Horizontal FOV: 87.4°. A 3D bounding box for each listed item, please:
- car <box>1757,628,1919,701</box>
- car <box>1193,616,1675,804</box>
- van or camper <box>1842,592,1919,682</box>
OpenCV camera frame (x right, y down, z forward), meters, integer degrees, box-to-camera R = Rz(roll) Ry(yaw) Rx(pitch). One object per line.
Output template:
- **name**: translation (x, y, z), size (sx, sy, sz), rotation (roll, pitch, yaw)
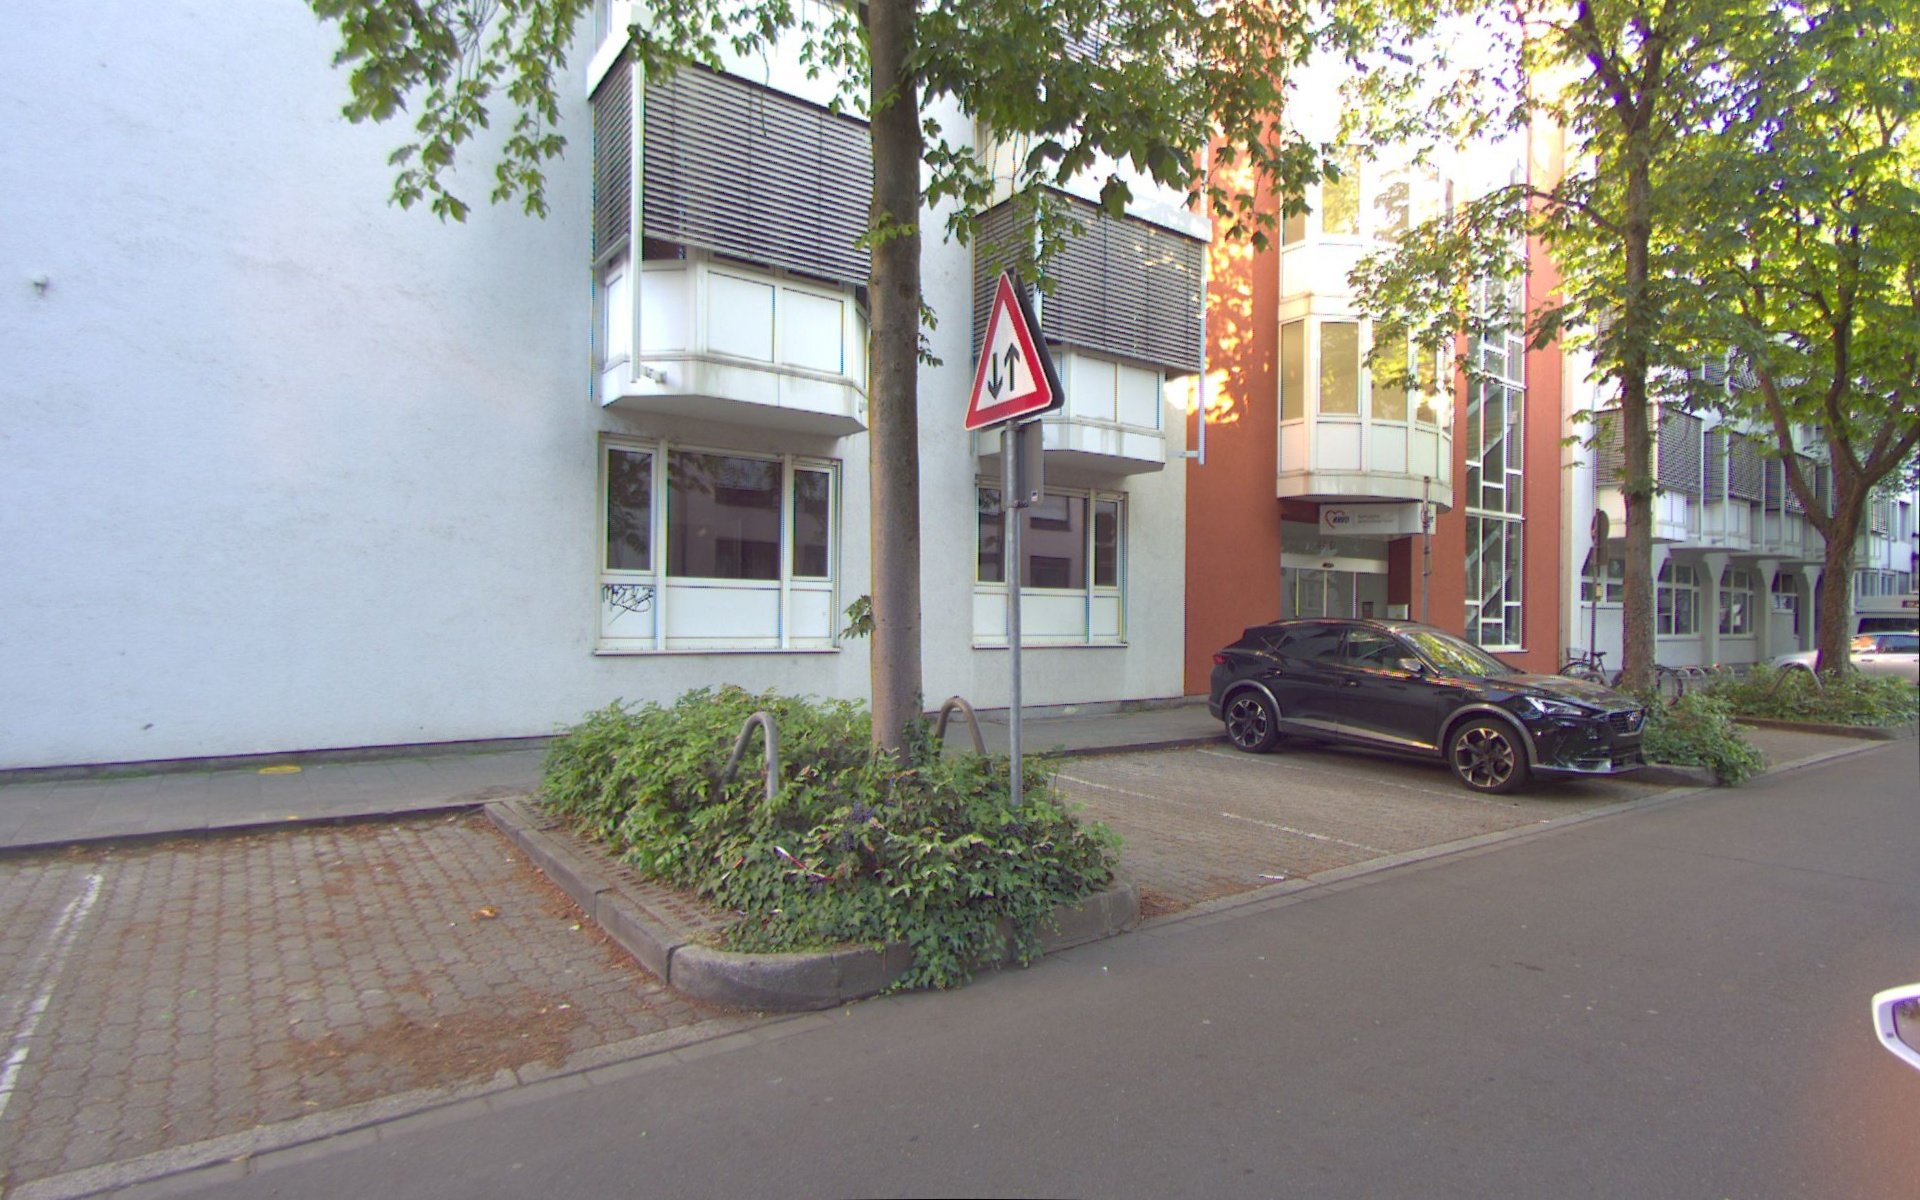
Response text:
- **car**: translation (21.159, 1.453, 23.242), size (1.767, 1.537, 3.942), rotation (1, -1, -35)
- **car**: translation (4.716, 0.957, 10.614), size (1.768, 1.537, 4.325), rotation (1, -1, -35)
- **van or camper**: translation (27.900, 1.034, 28.043), size (1.981, 2.511, 4.632), rotation (1, -1, -36)
